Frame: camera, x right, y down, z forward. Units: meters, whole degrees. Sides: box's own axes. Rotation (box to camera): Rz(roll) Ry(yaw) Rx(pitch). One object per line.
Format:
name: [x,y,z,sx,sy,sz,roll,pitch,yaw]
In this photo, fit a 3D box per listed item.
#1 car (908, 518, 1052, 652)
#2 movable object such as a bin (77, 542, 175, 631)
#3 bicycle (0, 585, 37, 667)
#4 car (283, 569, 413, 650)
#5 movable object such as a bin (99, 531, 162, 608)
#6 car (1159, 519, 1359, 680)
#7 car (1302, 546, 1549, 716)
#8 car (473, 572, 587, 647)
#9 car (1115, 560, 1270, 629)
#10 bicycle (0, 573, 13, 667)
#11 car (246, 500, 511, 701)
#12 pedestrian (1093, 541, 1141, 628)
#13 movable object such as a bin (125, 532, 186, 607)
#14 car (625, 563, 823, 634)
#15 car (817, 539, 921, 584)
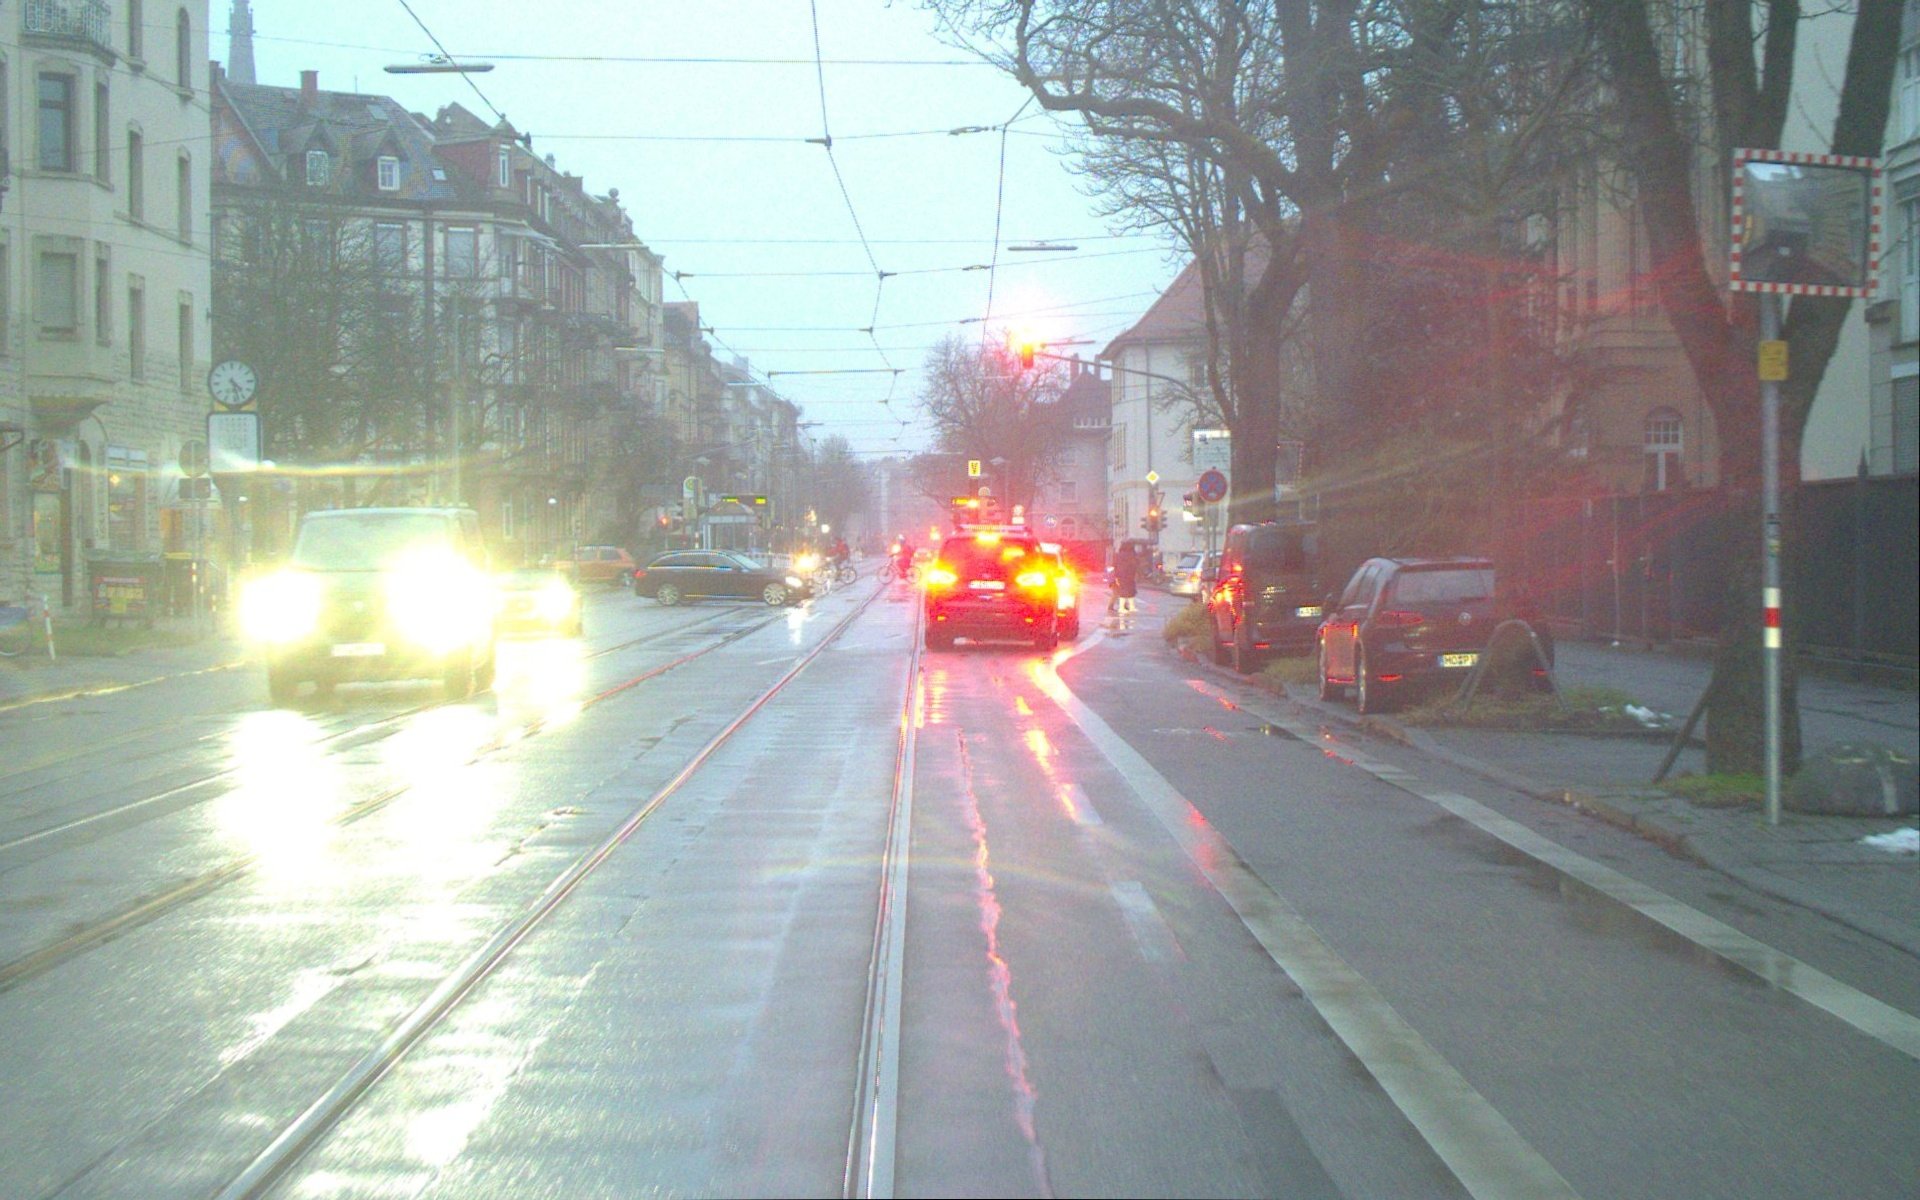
car: [0.248,-0.216,51.687,1.993,1.890,4.759,1,0,-1]
movable object such as a bin: [-14.880,-0.254,61.371,1.409,1.525,1.365,-1,2,-1]
bicycle: [-13.324,0.360,45.952,1.804,1.077,0.616,-1,2,-7]
car: [-11.936,0.162,67.285,1.833,1.442,4.000,-1,2,-1]
movable object such as a bin: [-17.459,-0.644,72.356,1.014,1.595,1.081,-1,2,2]
car: [3.766,-0.069,44.117,1.993,1.894,5.028,-1,2,-1]
car: [4.335,0.243,32.528,1.677,1.455,4.043,-1,1,-1]
car: [-7.638,0.141,61.354,1.660,1.194,3.875,-1,2,-2]
car: [6.106,-0.159,90.654,3.987,1.722,1.740,-1,2,1]
bicycle: [-11.494,0.247,39.923,0.614,1.077,1.811,-1,2,-5]
car: [-5.974,-0.069,35.919,2.046,1.915,5.101,-1,2,-2]
pedestrian: [3.725,-0.372,81.461,1.022,2.006,0.919,-1,1,-3]
movable object such as a bin: [-17.496,-0.676,74.807,1.014,1.595,1.081,-1,2,2]
car: [-6.096,-0.042,89.115,4.946,1.711,1.697,-1,2,3]
car: [-3.679,-1.551,138.607,3.986,1.711,1.904,-1,2,-9]
